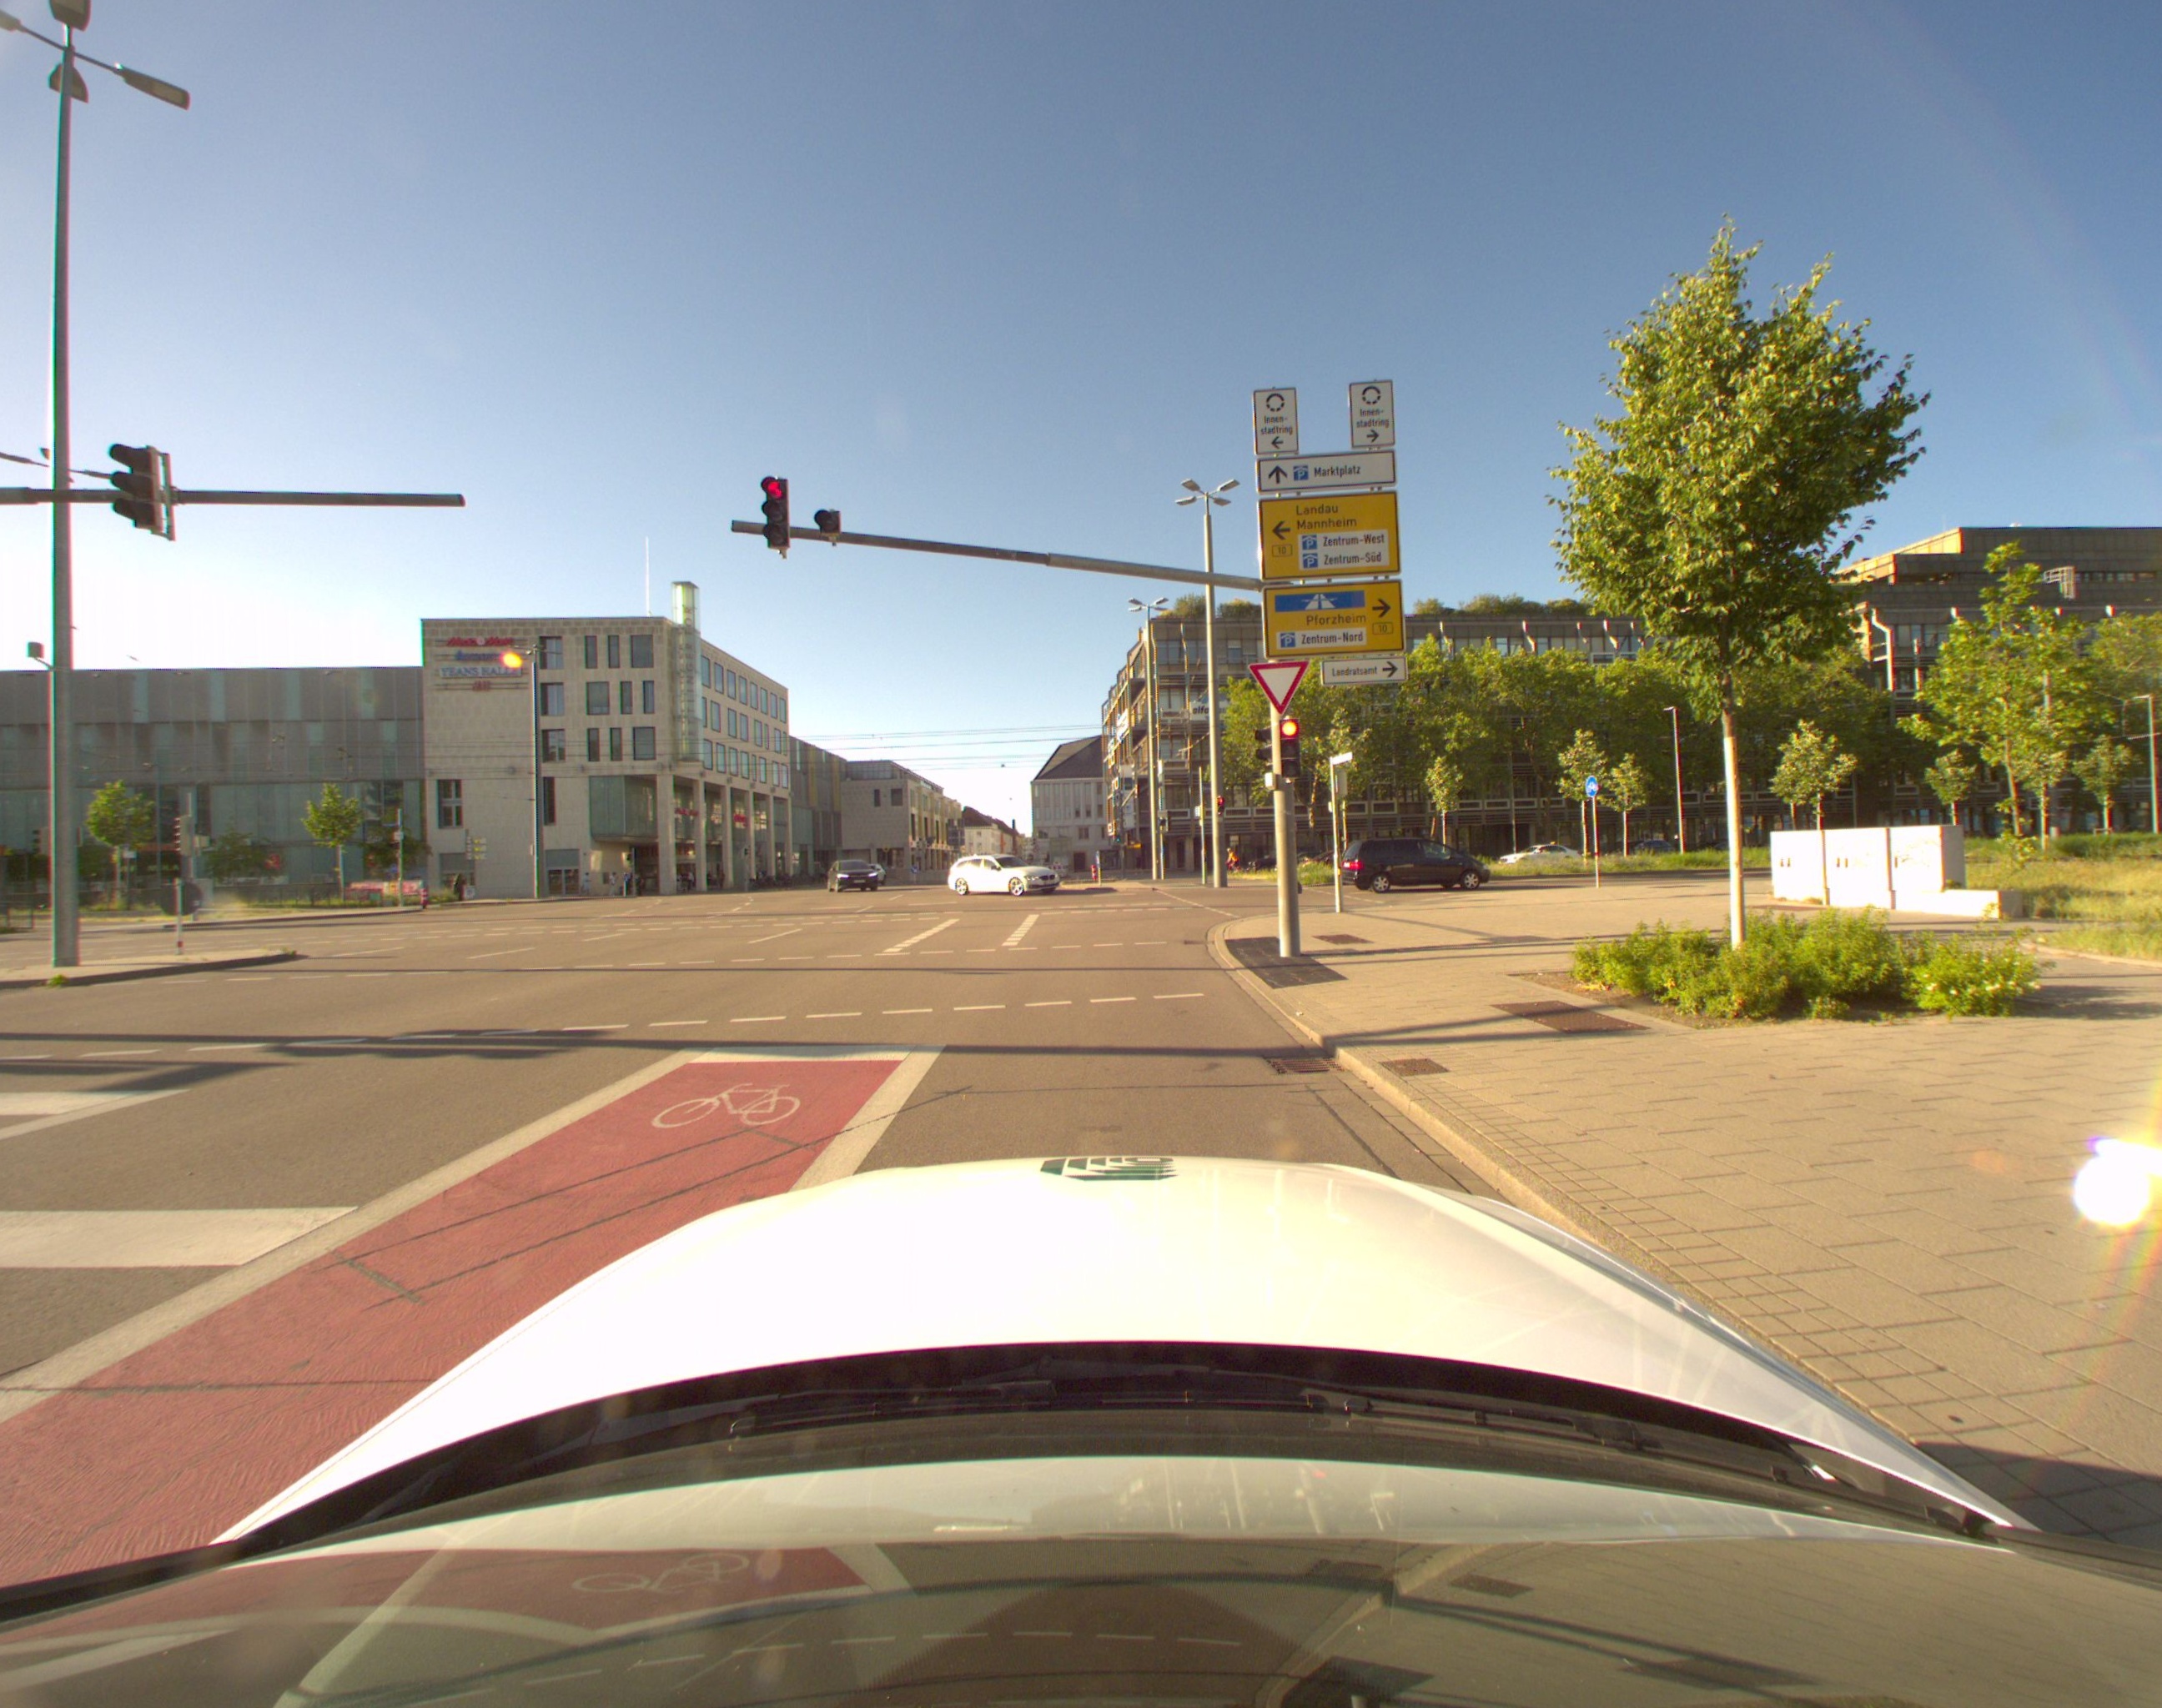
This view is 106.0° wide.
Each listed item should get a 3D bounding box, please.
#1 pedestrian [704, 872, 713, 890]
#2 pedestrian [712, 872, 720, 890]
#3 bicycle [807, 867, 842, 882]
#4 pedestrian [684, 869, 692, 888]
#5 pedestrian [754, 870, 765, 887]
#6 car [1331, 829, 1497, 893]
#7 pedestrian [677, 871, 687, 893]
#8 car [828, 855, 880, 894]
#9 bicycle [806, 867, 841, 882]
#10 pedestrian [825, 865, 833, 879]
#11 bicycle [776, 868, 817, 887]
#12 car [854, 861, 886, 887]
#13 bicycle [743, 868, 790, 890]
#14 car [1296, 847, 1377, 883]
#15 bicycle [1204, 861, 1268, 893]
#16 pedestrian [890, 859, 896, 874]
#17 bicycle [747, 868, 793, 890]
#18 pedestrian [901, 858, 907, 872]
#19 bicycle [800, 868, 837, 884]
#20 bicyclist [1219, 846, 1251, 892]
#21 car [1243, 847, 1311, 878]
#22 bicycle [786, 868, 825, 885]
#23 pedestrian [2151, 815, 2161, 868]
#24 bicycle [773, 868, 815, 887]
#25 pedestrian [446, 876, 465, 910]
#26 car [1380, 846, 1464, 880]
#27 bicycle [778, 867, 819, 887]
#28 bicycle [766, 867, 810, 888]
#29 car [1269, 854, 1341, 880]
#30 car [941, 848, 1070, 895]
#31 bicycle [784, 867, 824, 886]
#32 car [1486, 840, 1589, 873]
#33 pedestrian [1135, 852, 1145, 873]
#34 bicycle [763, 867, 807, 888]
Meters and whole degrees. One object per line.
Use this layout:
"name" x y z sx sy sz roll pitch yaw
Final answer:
"pedestrian" -32.469 2.372 71.048 0.510 1.510 0.513 -2 0 -3
"pedestrian" -32.122 2.362 71.669 0.480 1.510 0.513 -2 0 -3
"bicycle" -27.918 2.208 88.581 3.491 1.527 0.984 -2 0 -10
"pedestrian" -33.298 2.091 69.025 0.428 1.585 0.498 -2 0 -3
"pedestrian" -30.269 2.305 76.722 0.786 1.642 0.691 -2 0 -15
"car" 10.502 0.193 25.924 4.457 1.758 2.000 -2 2 0
"pedestrian" -30.395 2.149 62.046 0.541 1.642 0.548 -2 0 -12
"car" -11.092 0.951 39.530 2.001 1.601 4.920 -2 2 -20
"bicycle" -27.649 2.208 87.452 3.491 1.527 0.984 -2 0 -10
"pedestrian" -30.012 2.162 97.033 0.652 1.642 0.693 -2 0 -7
"bicycle" -26.852 2.195 76.860 3.491 1.696 0.984 -2 0 -10
"car" -15.188 1.411 58.712 1.996 1.660 4.387 -3 0 -13
"bicycle" -26.728 2.093 69.296 3.488 1.696 1.114 -2 0 -7
"car" 14.457 0.617 46.210 3.975 2.014 1.999 0 -1 -1
"bicycle" 8.930 1.313 47.068 3.488 1.659 0.929 -2 0 -7
"pedestrian" -26.532 1.737 114.791 0.623 2.013 0.734 -2 0 4
"bicycle" -26.908 2.160 70.528 3.488 1.696 1.114 -2 0 -7
"pedestrian" -25.409 1.587 116.690 0.623 2.013 0.734 -2 0 4
"bicycle" -27.544 2.287 85.584 3.491 1.527 0.984 -2 0 -10
"bicyclist" 8.889 0.853 47.072 1.566 2.580 0.929 -2 0 -7
"car" 12.843 0.558 53.625 3.975 2.014 1.999 0 -1 -1
"bicycle" -27.406 2.222 81.163 3.491 1.527 0.984 -2 0 -10
"pedestrian" 33.219 -0.396 24.505 0.801 1.630 0.939 -2 0 -12
"bicycle" -26.676 2.177 75.764 3.491 1.696 0.984 -2 0 -10
"pedestrian" -32.565 2.026 42.398 0.524 1.694 0.547 -2 0 -1
"car" 21.409 0.559 51.248 4.435 2.014 1.998 0 -1 -4
"bicycle" -27.040 2.207 78.069 3.491 1.696 0.984 -2 0 -10
"bicycle" -26.316 2.112 73.178 3.488 1.696 1.114 -2 0 -7
"car" 13.856 0.780 50.476 3.976 1.508 1.867 -1 0 -2
"car" -2.821 0.651 29.780 4.642 1.528 2.013 -2 0 41
"bicycle" -27.244 2.230 80.166 3.491 1.696 0.984 -2 0 -10
"car" 28.897 0.142 51.654 5.424 2.014 2.097 0 -1 -1
"pedestrian" 4.909 0.696 67.845 0.661 1.658 0.755 -2 0 -1
"bicycle" -26.140 2.066 71.957 3.488 1.696 1.114 -2 0 -7
